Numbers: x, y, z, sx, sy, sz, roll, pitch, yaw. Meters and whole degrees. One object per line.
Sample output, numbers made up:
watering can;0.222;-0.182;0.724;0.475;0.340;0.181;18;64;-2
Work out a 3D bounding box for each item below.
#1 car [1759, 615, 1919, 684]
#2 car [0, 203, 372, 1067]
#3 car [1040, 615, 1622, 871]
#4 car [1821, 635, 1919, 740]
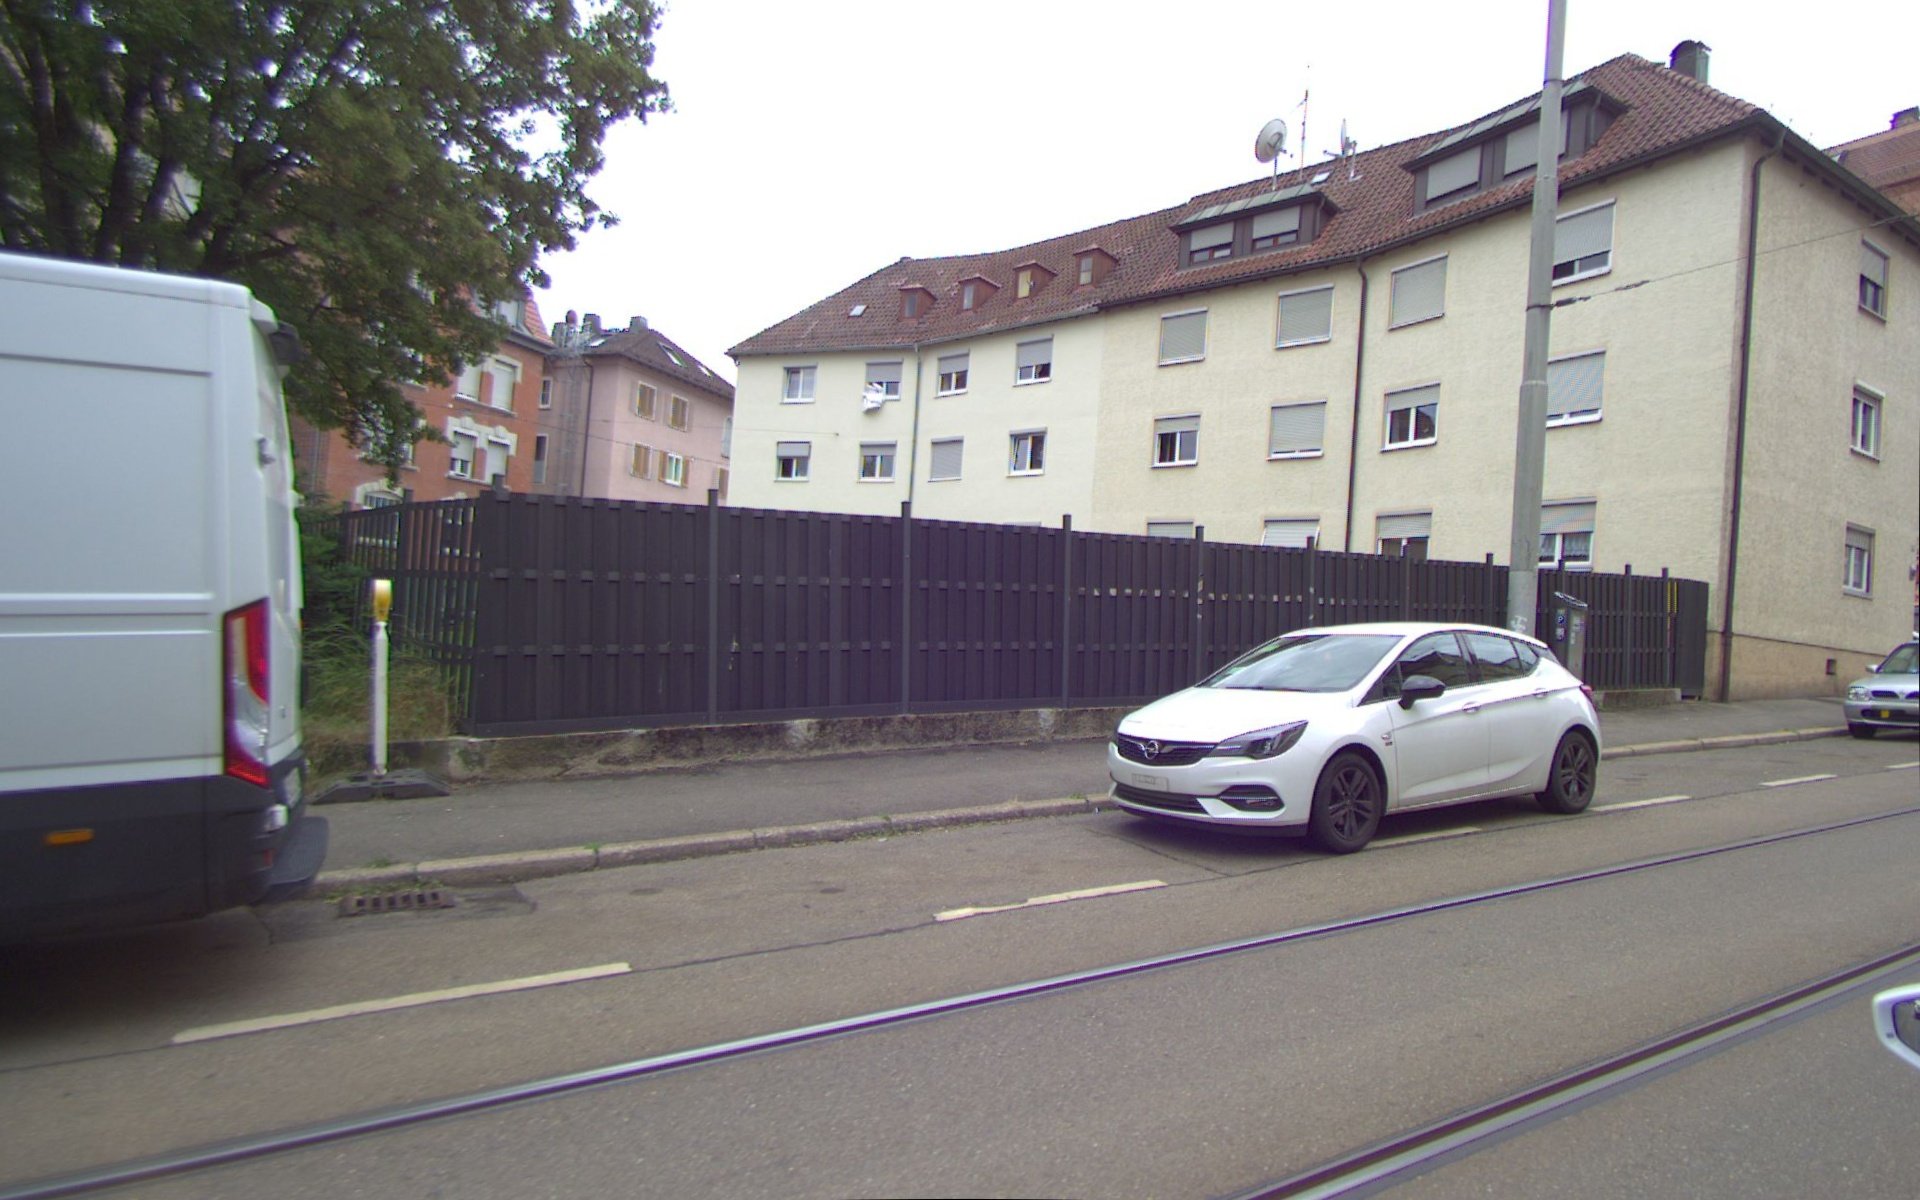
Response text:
car;26.189;1.385;28.509;1.920;1.842;5.144;1;-2;-33
car;-5.279;0.092;2.885;6.149;2.641;2.147;1;-3;-32
car;2.827;0.875;7.418;4.262;1.421;1.711;1;-3;-30
car;14.220;1.208;14.412;3.760;1.386;1.594;1;-3;-29
